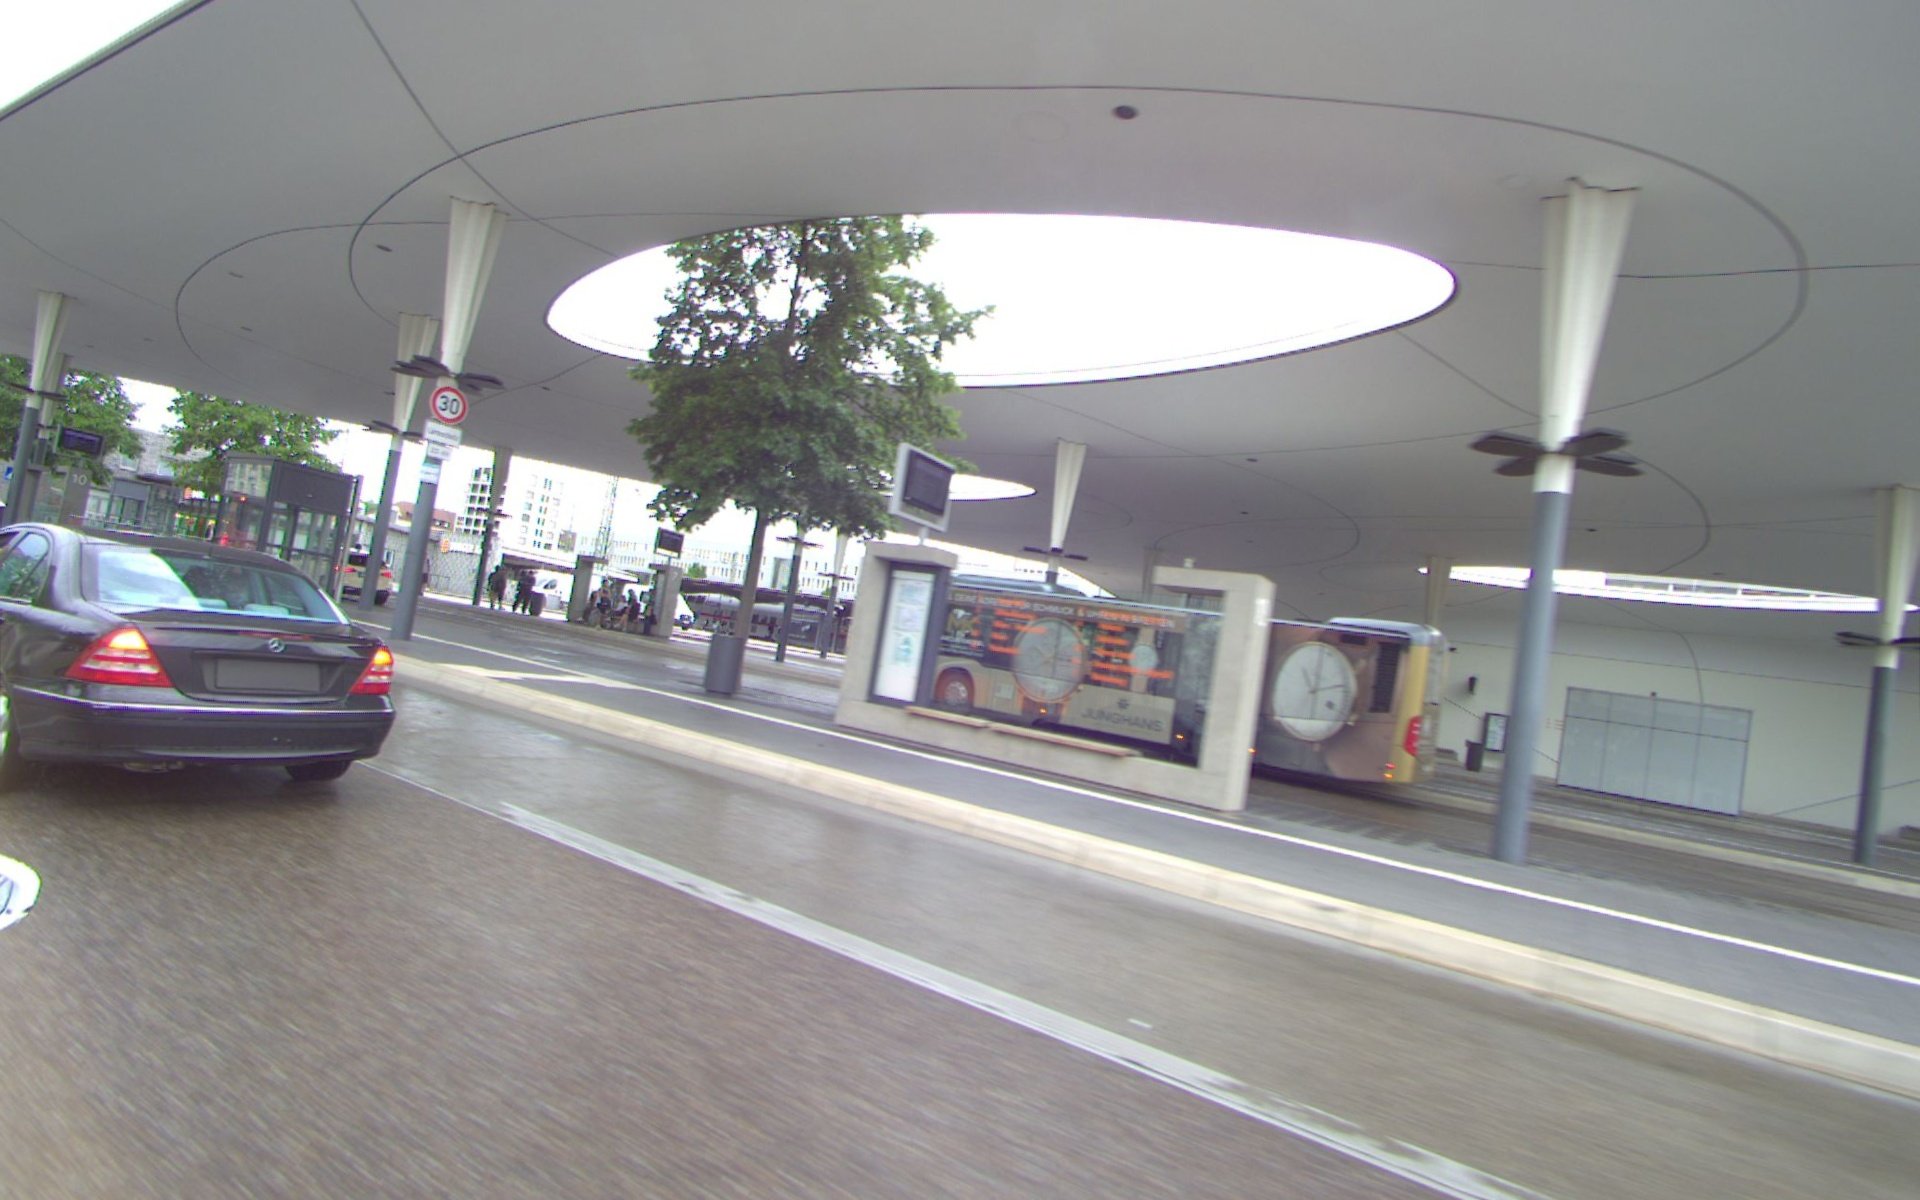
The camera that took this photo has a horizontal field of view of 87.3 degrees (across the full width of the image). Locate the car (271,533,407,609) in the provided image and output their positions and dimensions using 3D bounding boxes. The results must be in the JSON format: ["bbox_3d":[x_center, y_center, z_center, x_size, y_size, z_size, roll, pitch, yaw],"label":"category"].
[{"bbox_3d":[-18.937,-0.902,30.626,4.170,1.680,1.716,7,-4,33],"label":"car"}]

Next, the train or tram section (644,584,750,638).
[{"bbox_3d":[-26.943,1.073,102.668,11.427,3.693,3.144,7,-6,33],"label":"train or tram section"}]

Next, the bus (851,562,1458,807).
[{"bbox_3d":[3.365,1.394,20.739,11.894,3.078,2.726,7,-2,34],"label":"bus"}]

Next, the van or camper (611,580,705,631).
[{"bbox_3d":[-20.117,0.363,66.841,6.112,2.536,2.098,7,-3,30],"label":"van or camper"}]

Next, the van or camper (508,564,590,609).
[{"bbox_3d":[-27.918,-0.873,68.474,2.074,2.294,4.700,7,-3,30],"label":"van or camper"}]

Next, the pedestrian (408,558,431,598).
[{"bbox_3d":[-23.607,-0.954,43.936,0.574,1.592,0.560,10,-7,-21],"label":"pedestrian"}]

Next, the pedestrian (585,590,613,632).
[{"bbox_3d":[-13.389,0.417,37.316,0.603,1.460,0.561,6,-2,30],"label":"pedestrian"}]

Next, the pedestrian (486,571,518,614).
[{"bbox_3d":[-18.562,-0.291,40.794,0.759,1.592,0.583,7,-7,2],"label":"pedestrian"}]

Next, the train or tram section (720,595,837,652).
[{"bbox_3d":[-17.497,2.224,96.415,11.427,3.715,3.144,7,-6,33],"label":"train or tram section"}]

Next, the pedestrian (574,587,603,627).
[{"bbox_3d":[-13.921,0.265,37.704,0.603,1.376,0.561,6,-2,30],"label":"pedestrian"}]

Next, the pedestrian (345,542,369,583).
[{"bbox_3d":[-25.439,-1.581,42.478,0.575,1.592,0.559,11,-7,-27],"label":"pedestrian"}]

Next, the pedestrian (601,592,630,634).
[{"bbox_3d":[-12.682,0.475,37.047,0.603,1.460,0.561,6,-2,30],"label":"pedestrian"}]

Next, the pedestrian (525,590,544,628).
[{"bbox_3d":[-16.900,0.357,39.946,0.469,1.403,0.560,10,-7,-21],"label":"pedestrian"}]

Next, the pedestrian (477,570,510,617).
[{"bbox_3d":[-17.094,-0.252,36.879,0.699,1.598,0.601,5,-4,25],"label":"pedestrian"}]

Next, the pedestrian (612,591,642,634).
[{"bbox_3d":[-11.978,0.454,36.218,0.625,1.460,0.561,6,-2,30],"label":"pedestrian"}]

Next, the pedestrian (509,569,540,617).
[{"bbox_3d":[-16.599,-0.267,38.325,0.707,1.730,0.757,4,4,-44],"label":"pedestrian"}]

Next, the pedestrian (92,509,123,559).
[{"bbox_3d":[-31.060,-2.395,36.645,0.570,1.697,0.578,8,-2,-30],"label":"pedestrian"}]

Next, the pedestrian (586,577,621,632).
[{"bbox_3d":[-11.862,0.164,33.484,0.603,1.710,0.562,8,-2,27],"label":"pedestrian"}]

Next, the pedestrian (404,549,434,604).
[{"bbox_3d":[-21.620,-0.942,40.219,0.719,2.031,0.666,11,-8,-30],"label":"pedestrian"}]

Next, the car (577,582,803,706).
[{"bbox_3d":[-4.393,0.701,16.295,3.184,1.469,1.651,7,-3,32],"label":"car"}]

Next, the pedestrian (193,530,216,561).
[{"bbox_3d":[-41.464,-2.982,55.222,0.664,1.592,0.606,2,-9,39],"label":"pedestrian"}]

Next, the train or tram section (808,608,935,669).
[{"bbox_3d":[-8.037,3.393,90.096,11.427,3.712,3.144,7,-6,33],"label":"train or tram section"}]

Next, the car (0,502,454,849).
[{"bbox_3d":[-5.306,0.252,6.374,4.233,1.479,1.701,7,-2,33],"label":"car"}]
